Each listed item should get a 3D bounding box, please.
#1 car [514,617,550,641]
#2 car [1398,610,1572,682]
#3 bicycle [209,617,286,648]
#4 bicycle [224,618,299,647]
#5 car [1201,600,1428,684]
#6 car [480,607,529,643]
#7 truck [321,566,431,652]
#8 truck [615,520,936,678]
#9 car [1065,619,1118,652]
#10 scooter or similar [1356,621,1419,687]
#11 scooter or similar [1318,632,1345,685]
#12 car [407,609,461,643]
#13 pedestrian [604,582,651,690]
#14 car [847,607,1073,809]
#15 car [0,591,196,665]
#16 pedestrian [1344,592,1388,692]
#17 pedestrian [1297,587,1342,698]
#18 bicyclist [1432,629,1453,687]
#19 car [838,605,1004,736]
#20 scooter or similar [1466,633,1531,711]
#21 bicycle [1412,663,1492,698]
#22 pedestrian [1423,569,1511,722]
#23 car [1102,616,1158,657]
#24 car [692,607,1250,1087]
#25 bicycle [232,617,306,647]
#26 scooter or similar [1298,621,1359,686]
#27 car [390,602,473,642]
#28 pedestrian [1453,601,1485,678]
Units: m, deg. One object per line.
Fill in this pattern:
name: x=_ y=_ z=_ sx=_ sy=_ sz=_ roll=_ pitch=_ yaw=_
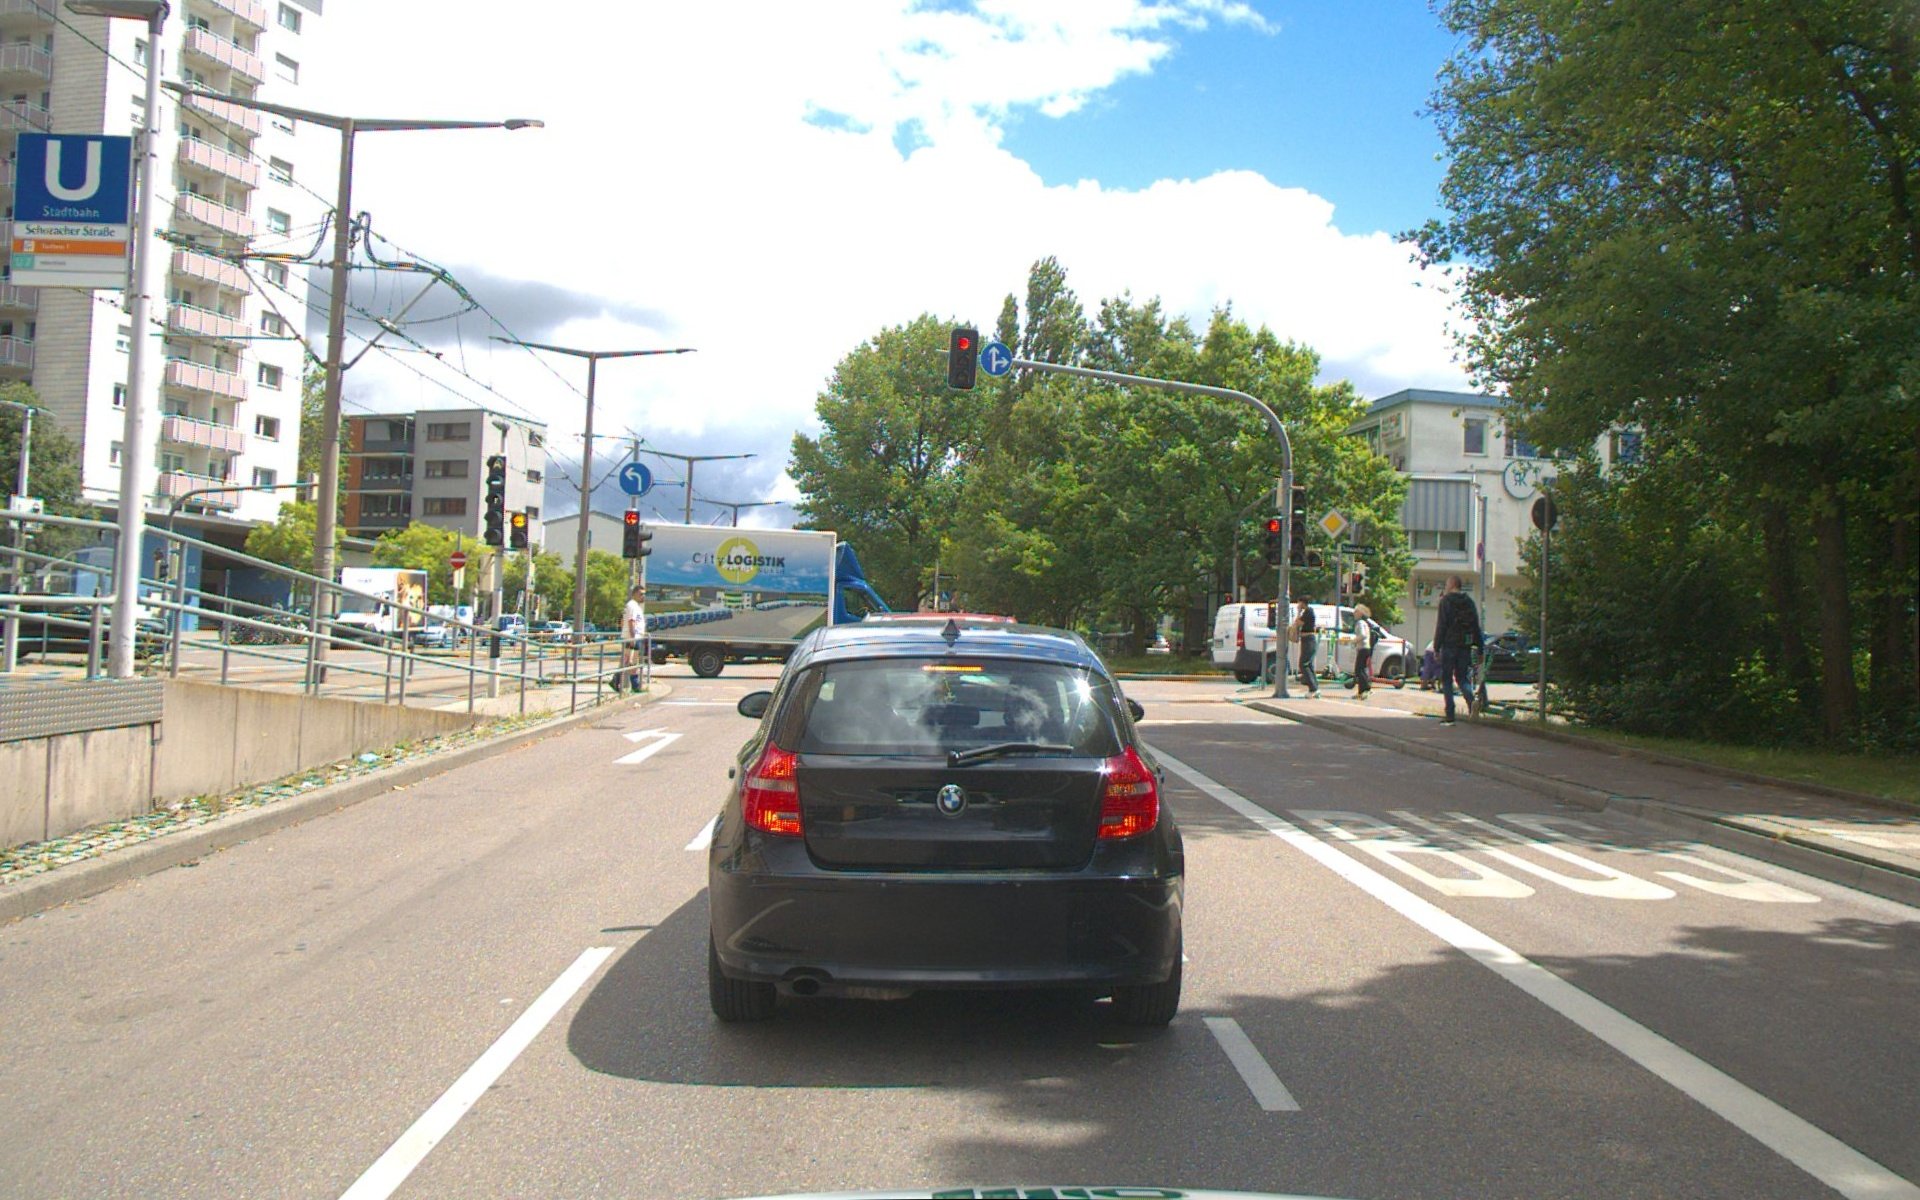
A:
car: x=-28.810 y=1.935 z=111.449 sx=1.559 sy=1.500 sz=3.773 roll=2 pitch=-1 yaw=-2
car: x=15.347 y=1.331 z=48.462 sx=4.451 sy=2.049 sz=1.996 roll=0 pitch=0 yaw=-9
bicycle: x=-26.567 y=1.215 z=61.694 sx=2.528 sy=1.026 sz=0.748 roll=3 pitch=-3 yaw=-29
bicycle: x=-26.537 y=1.239 z=62.827 sx=2.528 sy=1.026 sz=0.748 roll=3 pitch=-3 yaw=-29
car: x=8.675 y=1.024 z=40.585 sx=5.080 sy=1.926 sz=1.993 roll=1 pitch=-1 yaw=-13
car: x=-24.005 y=1.304 z=87.278 sx=1.559 sy=1.787 sz=3.773 roll=2 pitch=-1 yaw=-2
truck: x=-23.117 y=0.363 z=65.782 sx=2.237 sy=3.172 sz=7.311 roll=2 pitch=-1 yaw=-5
truck: x=-4.305 y=0.012 z=38.372 sx=7.139 sy=3.407 sz=2.600 roll=1 pitch=-1 yaw=-12
car: x=7.175 y=1.938 z=90.762 sx=1.830 sy=1.691 sz=3.988 roll=2 pitch=-1 yaw=-12
scooter or similar: x=8.825 y=1.114 z=34.186 sx=1.127 sy=1.294 sz=0.555 roll=2 pitch=-1 yaw=1
scooter or similar: x=7.870 y=1.228 z=35.000 sx=0.536 sy=1.082 sz=1.263 roll=1 pitch=0 yaw=13
car: x=-23.733 y=1.164 z=74.715 sx=1.379 sy=1.486 sz=3.772 roll=2 pitch=-1 yaw=-3
pedestrian: x=-5.508 y=0.589 z=27.403 sx=0.674 sy=1.764 sz=0.686 roll=1 pitch=-1 yaw=-7
car: x=-0.021 y=0.790 z=13.619 sx=1.605 sy=1.424 sz=3.419 roll=1 pitch=0 yaw=-1
car: x=-18.793 y=0.593 z=35.580 sx=3.917 sy=1.512 sz=1.842 roll=1 pitch=0 yaw=-12
pedestrian: x=7.443 y=0.767 z=30.325 sx=0.623 sy=1.797 sz=0.518 roll=1 pitch=-1 yaw=-4
pedestrian: x=6.281 y=0.741 z=28.918 sx=0.623 sy=1.909 sz=0.518 roll=1 pitch=-1 yaw=-4
bicyclist: x=10.110 y=1.207 z=34.631 sx=0.390 sy=1.177 sz=0.503 roll=1 pitch=-1 yaw=19
car: x=-0.479 y=0.816 z=21.081 sx=1.862 sy=1.447 sz=4.538 roll=1 pitch=0 yaw=-1
scooter or similar: x=9.342 y=1.250 z=28.689 sx=0.872 sy=1.251 sz=0.454 roll=6 pitch=-1 yaw=-1
bicycle: x=10.276 y=1.674 z=34.552 sx=1.552 sy=0.620 sz=0.534 roll=-4 pitch=-2 yaw=20
pedestrian: x=6.527 y=0.576 z=21.330 sx=0.779 sy=1.909 sz=1.013 roll=1 pitch=-1 yaw=-2
car: x=8.179 y=1.729 z=79.831 sx=1.694 sy=1.904 sz=3.991 roll=2 pitch=-1 yaw=-9
car: x=0.014 y=0.760 z=6.717 sx=1.666 sy=1.424 sz=3.419 roll=1 pitch=0 yaw=-1
bicycle: x=-26.710 y=1.241 z=63.925 sx=2.528 sy=1.026 sz=0.748 roll=3 pitch=-3 yaw=-29
scooter or similar: x=7.409 y=1.068 z=33.268 sx=1.087 sy=1.257 sz=0.539 roll=1 pitch=-1 yaw=1
car: x=-28.267 y=1.184 z=88.549 sx=3.892 sy=2.009 sz=1.630 roll=2 pitch=-1 yaw=-43
pedestrian: x=11.587 y=0.892 z=37.664 sx=0.644 sy=1.743 sz=0.462 roll=1 pitch=-1 yaw=23
